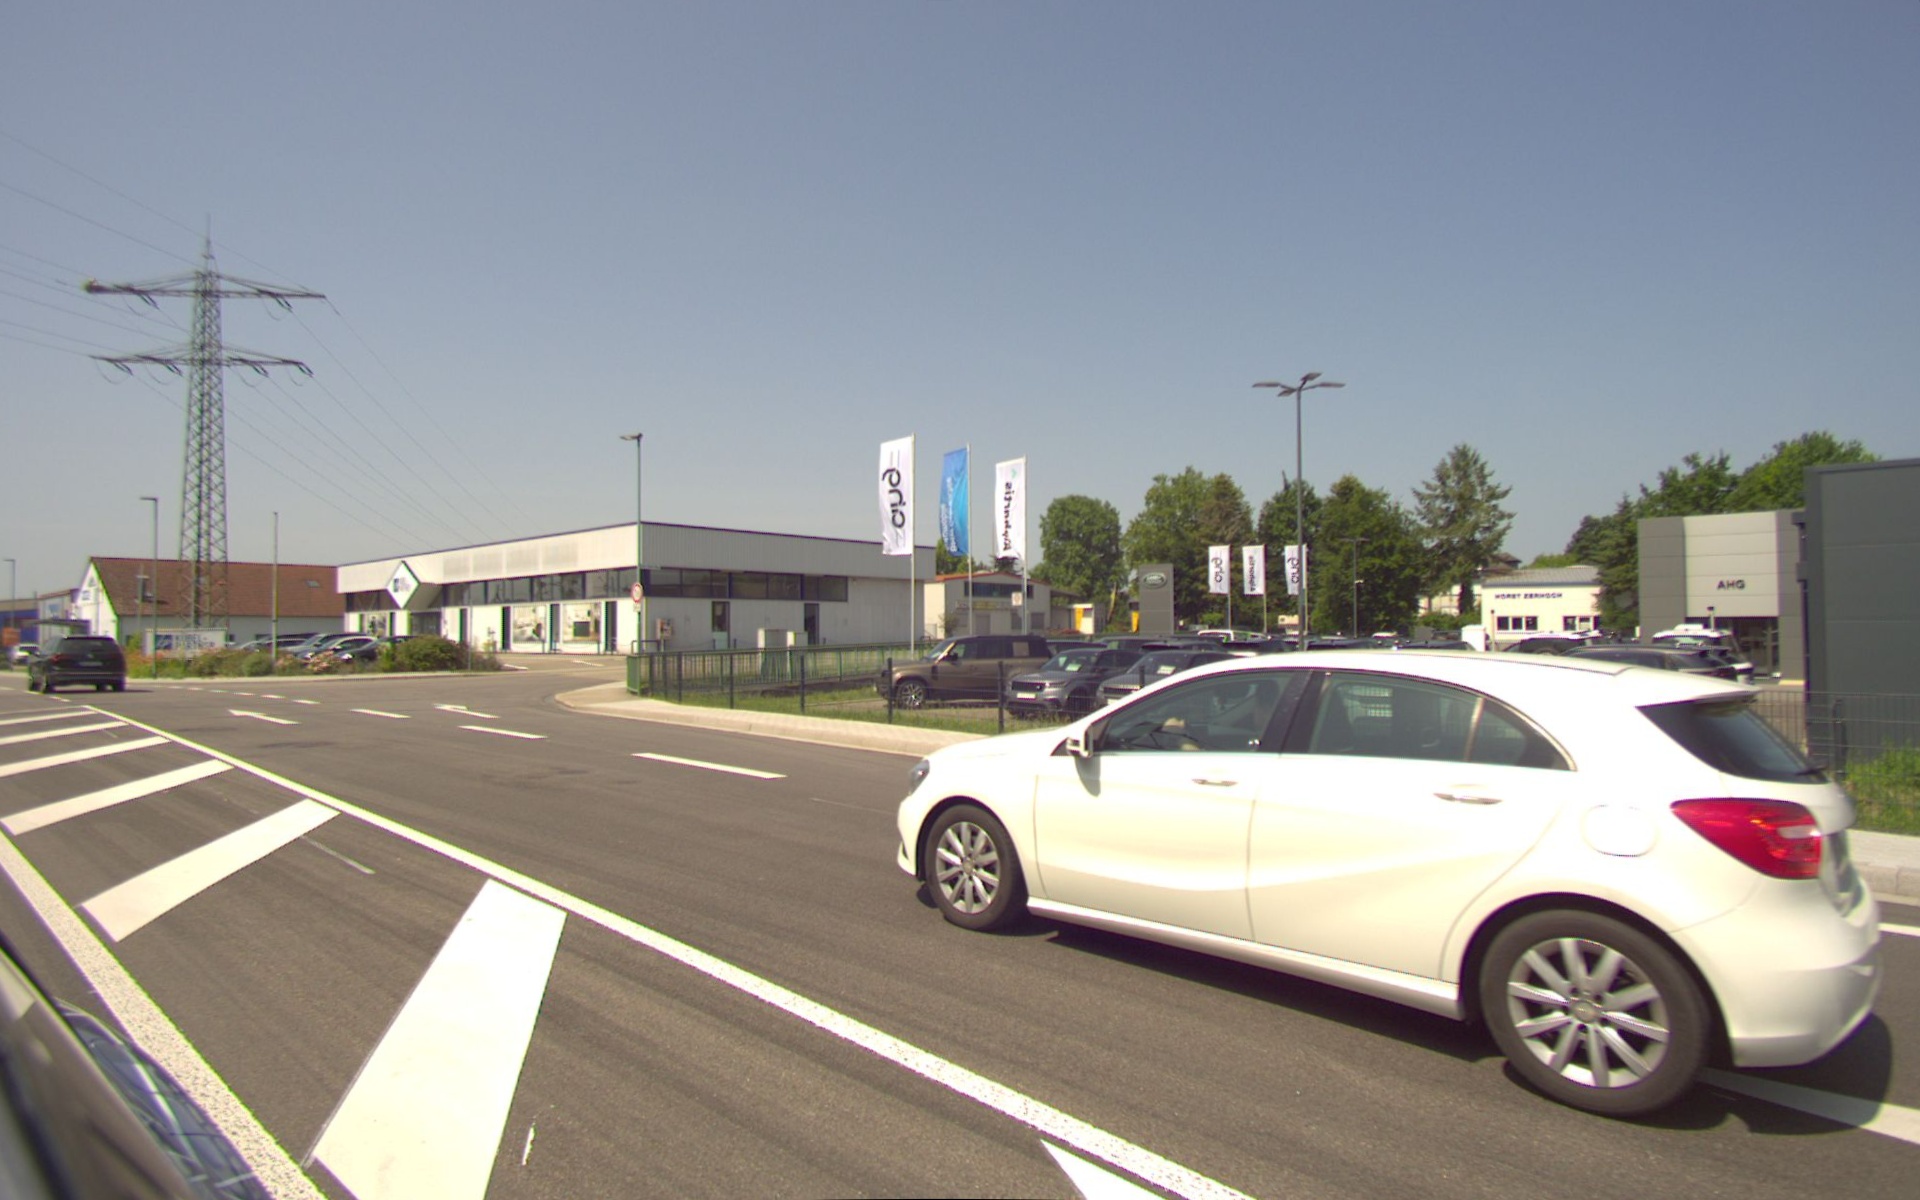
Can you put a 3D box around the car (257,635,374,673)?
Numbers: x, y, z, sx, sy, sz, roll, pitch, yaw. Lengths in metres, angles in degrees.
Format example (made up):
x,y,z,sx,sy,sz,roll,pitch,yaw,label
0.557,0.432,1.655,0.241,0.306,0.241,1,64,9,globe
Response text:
x,y,z,sx,sy,sz,roll,pitch,yaw,label
-29.674,2.491,46.678,1.831,1.660,4.184,-3,-4,37,car

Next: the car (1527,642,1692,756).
x,y,z,sx,sy,sz,roll,pitch,yaw,label
10.875,1.541,16.819,1.821,1.644,4.107,-4,-4,39,car

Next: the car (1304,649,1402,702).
x,y,z,sx,sy,sz,roll,pitch,yaw,label
11.904,2.233,30.536,1.684,1.456,3.647,-4,-4,39,car

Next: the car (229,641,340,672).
x,y,z,sx,sy,sz,roll,pitch,yaw,label
-32.323,2.693,48.524,1.995,1.425,3.954,-3,-4,34,car

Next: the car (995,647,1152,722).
x,y,z,sx,sy,sz,roll,pitch,yaw,label
2.796,1.969,24.322,1.885,1.644,3.947,-4,-4,39,car

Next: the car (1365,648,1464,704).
x,y,z,sx,sy,sz,roll,pitch,yaw,label
13.220,2.158,29.366,1.684,1.456,3.647,-4,-4,39,car

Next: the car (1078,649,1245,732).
x,y,z,sx,sy,sz,roll,pitch,yaw,label
4.547,1.937,22.459,1.975,1.644,3.947,-4,-4,39,car

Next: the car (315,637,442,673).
x,y,z,sx,sy,sz,roll,pitch,yaw,label
-24.130,2.292,42.107,1.831,1.405,4.184,-3,-4,37,car

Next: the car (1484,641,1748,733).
x,y,z,sx,sy,sz,roll,pitch,yaw,label
12.977,1.681,20.168,4.159,1.644,1.798,-4,-4,41,car

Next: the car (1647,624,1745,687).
x,y,z,sx,sy,sz,roll,pitch,yaw,label
18.257,1.345,25.039,1.684,1.432,3.799,-4,-4,39,car

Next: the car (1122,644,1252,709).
x,y,z,sx,sy,sz,roll,pitch,yaw,label
6.426,2.103,28.370,1.975,1.677,3.947,-4,-4,39,car

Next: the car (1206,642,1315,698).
x,y,z,sx,sy,sz,roll,pitch,yaw,label
9.782,2.232,32.824,1.975,1.677,3.947,-4,-4,39,car

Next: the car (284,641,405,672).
x,y,z,sx,sy,sz,roll,pitch,yaw,label
-27.167,2.487,44.759,1.831,1.325,4.184,-3,-4,37,car

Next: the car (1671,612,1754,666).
x,y,z,sx,sy,sz,roll,pitch,yaw,label
21.765,1.121,29.221,1.684,1.432,3.647,-4,-4,39,car

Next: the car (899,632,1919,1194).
x,y,z,sx,sy,sz,roll,pitch,yaw,label
1.755,0.879,4.455,4.050,1.426,1.761,-3,-3,43,car

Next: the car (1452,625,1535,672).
x,y,z,sx,sy,sz,roll,pitch,yaw,label
17.485,1.576,33.097,1.684,1.432,3.647,-4,-4,39,car

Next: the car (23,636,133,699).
x,y,z,sx,sy,sz,roll,pitch,yaw,label
-25.573,1.936,29.288,4.289,1.686,1.857,-4,-4,42,car

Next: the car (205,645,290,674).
x,y,z,sx,sy,sz,roll,pitch,yaw,label
-38.508,3.205,54.780,1.503,1.263,3.475,-3,-1,39,car

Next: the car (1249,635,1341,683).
x,y,z,sx,sy,sz,roll,pitch,yaw,label
12.675,2.211,38.194,1.975,1.677,3.947,-4,-4,39,car

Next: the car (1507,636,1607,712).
x,y,z,sx,sy,sz,roll,pitch,yaw,label
15.937,1.917,26.941,1.684,1.842,3.799,-4,-4,39,car

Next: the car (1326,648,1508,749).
x,y,z,sx,sy,sz,roll,pitch,yaw,label
8.600,1.740,18.874,1.967,1.644,3.944,-4,-4,41,car

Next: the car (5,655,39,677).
x,y,z,sx,sy,sz,roll,pitch,yaw,label
-89.435,6.299,96.496,4.679,2.029,1.972,-3,-4,42,car

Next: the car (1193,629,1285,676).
x,y,z,sx,sy,sz,roll,pitch,yaw,label
11.161,2.071,40.307,1.965,1.747,4.261,-4,-4,39,car

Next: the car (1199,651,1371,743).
x,y,z,sx,sy,sz,roll,pitch,yaw,label
6.678,1.880,20.563,1.975,1.644,3.947,-4,-4,39,car

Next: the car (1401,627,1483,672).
x,y,z,sx,sy,sz,roll,pitch,yaw,label
16.598,1.677,34.757,1.684,1.456,3.647,-4,-4,39,car

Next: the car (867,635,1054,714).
x,y,z,sx,sy,sz,roll,pitch,yaw,label
-0.048,1.922,26.867,4.602,1.879,2.071,0,-1,-11,car
